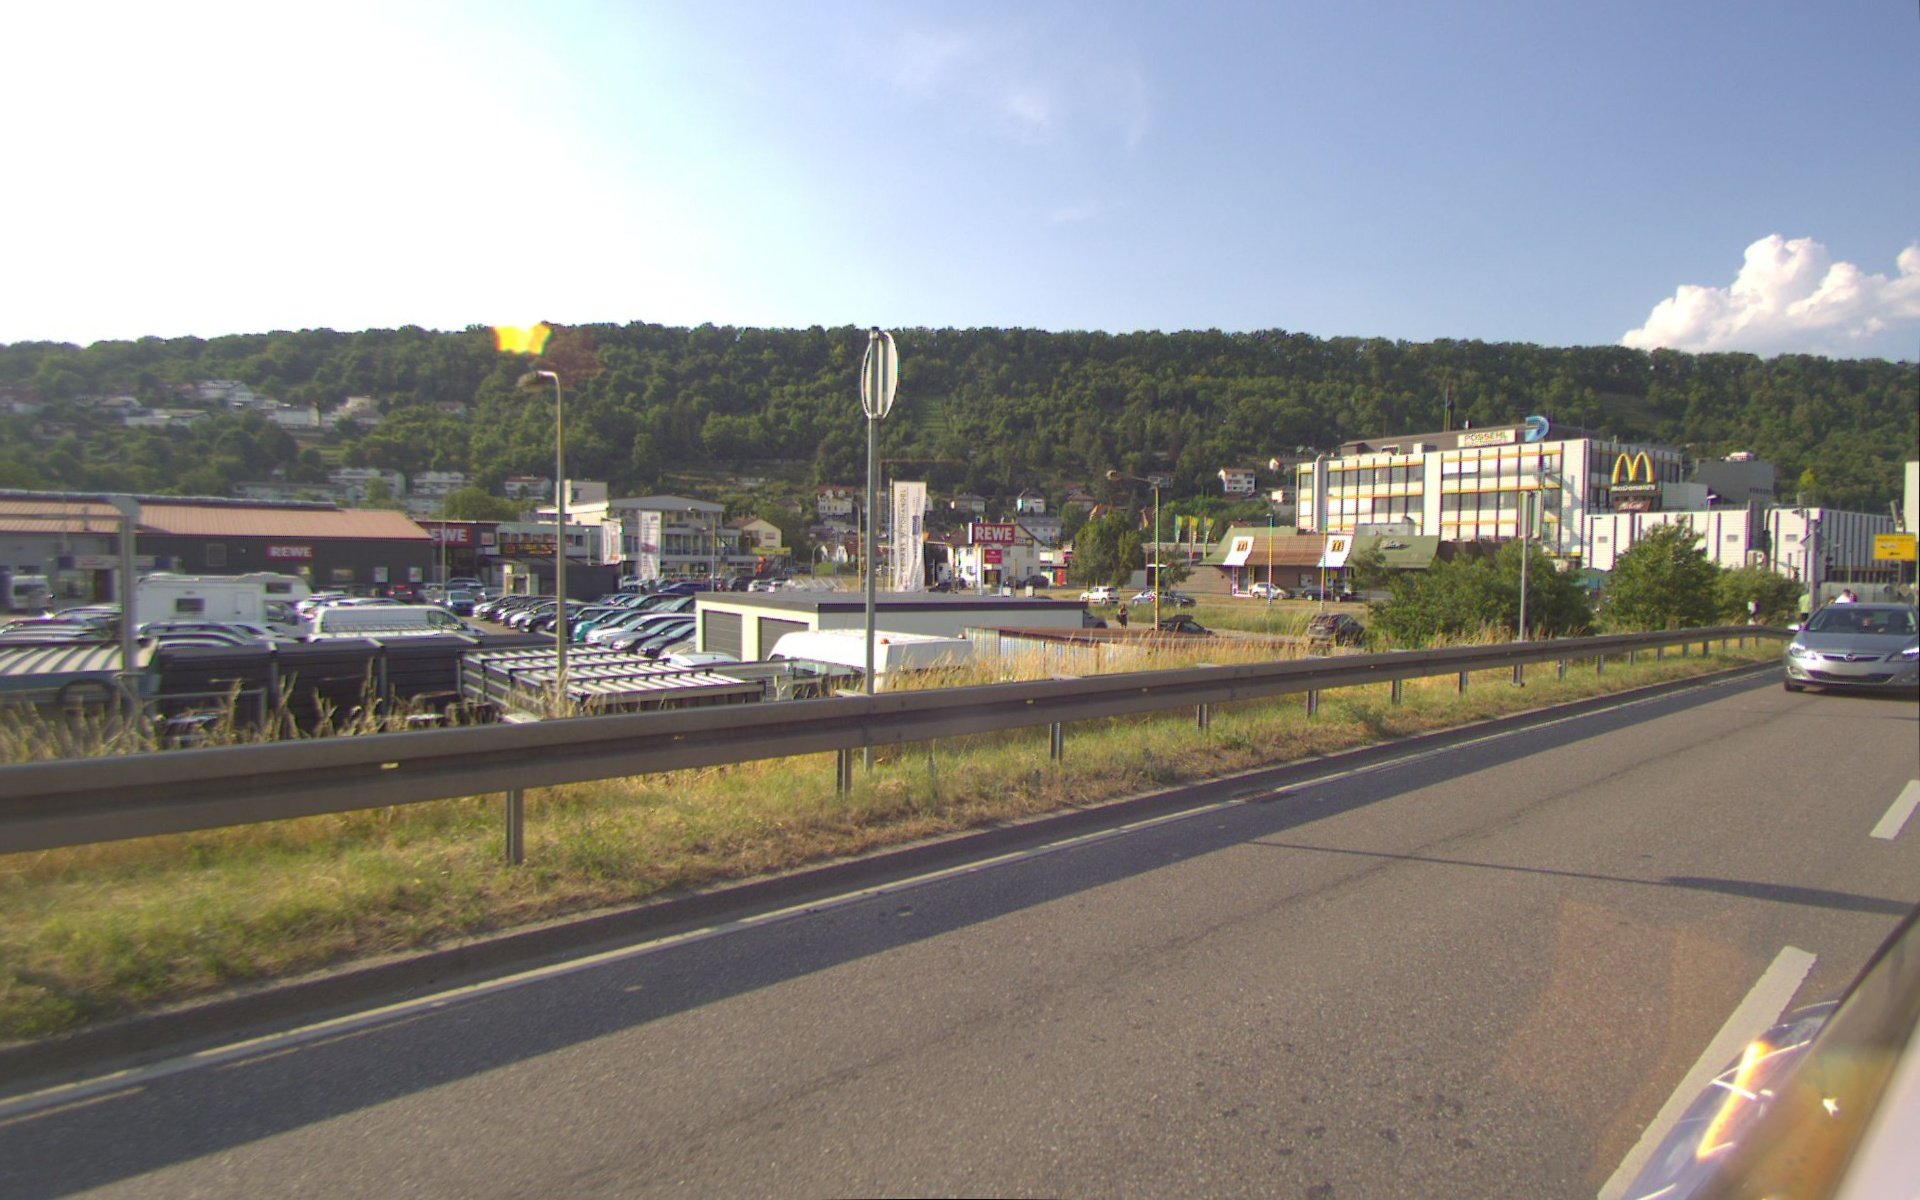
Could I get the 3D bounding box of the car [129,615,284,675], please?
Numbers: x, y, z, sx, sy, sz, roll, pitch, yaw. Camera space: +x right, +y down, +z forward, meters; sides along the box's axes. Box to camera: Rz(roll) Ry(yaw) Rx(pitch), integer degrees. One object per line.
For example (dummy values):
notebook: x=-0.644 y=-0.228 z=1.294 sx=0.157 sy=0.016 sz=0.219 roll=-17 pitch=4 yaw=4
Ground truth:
car: x=-24.356 y=1.406 z=32.828 sx=3.927 sy=1.660 sz=1.760 roll=-2 pitch=1 yaw=-38

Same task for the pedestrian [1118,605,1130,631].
pedestrian: x=9.549 y=1.032 z=59.070 sx=0.556 sy=1.477 sz=0.381 roll=-1 pitch=0 yaw=-15

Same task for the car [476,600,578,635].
car: x=-23.299 y=0.917 z=54.619 sx=4.900 sy=1.710 sz=1.765 roll=-1 pitch=1 yaw=-19

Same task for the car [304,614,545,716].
car: x=-12.382 y=1.403 z=23.577 sx=4.740 sy=1.976 sz=1.760 roll=-2 pitch=1 yaw=-38

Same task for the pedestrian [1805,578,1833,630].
pedestrian: x=30.155 y=0.116 z=35.520 sx=0.527 sy=1.770 sz=0.533 roll=-1 pitch=5 yaw=-36

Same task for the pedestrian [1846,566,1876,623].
pedestrian: x=30.540 y=-0.192 z=34.297 sx=0.847 sy=1.906 sz=0.619 roll=-1 pitch=3 yaw=-42

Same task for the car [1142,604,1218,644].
car: x=11.069 y=1.181 z=50.728 sx=1.833 sy=1.723 sz=4.064 roll=3 pitch=4 yaw=45

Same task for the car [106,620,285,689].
car: x=-21.667 y=1.478 z=28.827 sx=3.927 sy=1.660 sz=1.760 roll=-2 pitch=1 yaw=-38

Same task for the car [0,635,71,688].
car: x=-23.180 y=1.484 z=24.108 sx=2.707 sy=1.138 sz=1.279 roll=-1 pitch=1 yaw=-18

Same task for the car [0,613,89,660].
car: x=-24.664 y=0.952 z=26.347 sx=2.707 sy=1.138 sz=1.279 roll=-1 pitch=1 yaw=-18

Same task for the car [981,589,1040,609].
car: x=4.062 y=-0.099 z=81.118 sx=4.354 sy=1.544 sz=2.000 roll=-2 pitch=1 yaw=-34

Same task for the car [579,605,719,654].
car: x=-11.707 y=1.066 z=38.251 sx=4.740 sy=1.585 sz=1.760 roll=-2 pitch=1 yaw=-38

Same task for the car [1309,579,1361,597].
car: x=34.004 y=-1.121 z=91.822 sx=1.828 sy=1.475 sz=3.997 roll=-2 pitch=3 yaw=-39

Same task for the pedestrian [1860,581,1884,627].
pedestrian: x=32.946 y=0.144 z=36.556 sx=0.572 sy=1.634 sz=0.613 roll=4 pitch=3 yaw=44

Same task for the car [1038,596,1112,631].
car: x=6.410 y=0.703 z=56.195 sx=4.060 sy=1.723 sz=1.835 roll=-2 pitch=3 yaw=-42

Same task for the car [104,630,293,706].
car: x=-20.268 y=1.754 z=27.084 sx=3.927 sy=1.660 sz=1.760 roll=-2 pitch=1 yaw=-38

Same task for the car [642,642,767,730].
car: x=-5.772 y=1.837 z=22.577 sx=1.505 sy=1.591 sz=3.584 roll=-1 pitch=1 yaw=-35

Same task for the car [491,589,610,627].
car: x=-20.245 y=0.372 z=50.328 sx=5.364 sy=1.710 sz=1.765 roll=-1 pitch=1 yaw=-19

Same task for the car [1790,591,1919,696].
car: x=14.878 y=0.613 z=16.284 sx=3.816 sy=1.408 sz=1.690 roll=-2 pitch=2 yaw=-40

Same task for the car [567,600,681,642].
car: x=-14.168 y=0.849 z=42.647 sx=4.387 sy=1.585 sz=1.764 roll=-1 pitch=1 yaw=-24

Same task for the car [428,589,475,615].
car: x=-31.119 y=0.109 z=61.889 sx=1.701 sy=1.527 sz=3.993 roll=0 pitch=0 yaw=-41

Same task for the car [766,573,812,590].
car: x=-17.144 y=-1.890 z=101.356 sx=4.267 sy=1.582 sz=1.835 roll=-2 pitch=3 yaw=-42

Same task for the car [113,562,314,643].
car: x=-25.377 y=0.003 z=34.605 sx=5.369 sy=2.581 sz=1.760 roll=-2 pitch=1 yaw=-38

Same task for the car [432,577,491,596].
car: x=-45.094 y=-1.283 z=91.665 sx=4.507 sy=1.607 sz=1.835 roll=-2 pitch=3 yaw=-42

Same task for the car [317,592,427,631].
car: x=-27.081 y=0.476 z=46.764 sx=1.709 sy=1.649 sz=4.158 roll=-1 pitch=1 yaw=25

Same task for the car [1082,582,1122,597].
car: x=13.421 y=-0.999 z=95.692 sx=1.658 sy=1.438 sz=3.653 roll=-1 pitch=1 yaw=-35

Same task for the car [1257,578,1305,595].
car: x=30.449 y=-1.311 z=96.168 sx=1.828 sy=1.475 sz=3.997 roll=-2 pitch=3 yaw=-39

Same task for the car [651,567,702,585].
car: x=-26.413 y=-2.228 z=94.280 sx=4.267 sy=1.582 sz=1.835 roll=-2 pitch=3 yaw=-42

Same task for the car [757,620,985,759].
car: x=-1.572 y=1.328 z=16.624 sx=1.802 sy=1.838 sz=3.996 roll=-1 pitch=1 yaw=-39

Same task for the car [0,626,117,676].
car: x=-25.826 y=1.431 z=28.565 sx=2.810 sy=1.243 sz=1.363 roll=-1 pitch=1 yaw=-18

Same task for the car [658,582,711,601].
car: x=-24.851 y=-0.821 z=91.468 sx=4.267 sy=1.582 sz=1.835 roll=-2 pitch=3 yaw=-42

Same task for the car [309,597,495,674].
car: x=-18.389 y=1.090 z=33.502 sx=5.200 sy=2.274 sz=1.760 roll=-2 pitch=1 yaw=-38

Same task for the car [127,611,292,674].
car: x=-22.800 y=1.234 z=30.851 sx=3.927 sy=1.660 sz=1.760 roll=-2 pitch=1 yaw=-38

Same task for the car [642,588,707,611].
car: x=-19.524 y=-0.043 z=69.305 sx=3.931 sy=1.527 sz=1.728 roll=-1 pitch=0 yaw=-41

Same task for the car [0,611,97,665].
car: x=-30.765 y=1.254 z=33.124 sx=3.367 sy=1.636 sz=1.810 roll=-1 pitch=1 yaw=-17

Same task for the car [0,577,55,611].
car: x=-58.541 y=-0.386 z=62.445 sx=3.931 sy=2.039 sz=1.997 roll=-2 pitch=1 yaw=-41

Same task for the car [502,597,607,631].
car: x=-19.136 y=0.648 z=47.918 sx=4.387 sy=1.478 sz=1.764 roll=-1 pitch=1 yaw=-12

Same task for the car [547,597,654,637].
car: x=-15.886 y=0.727 z=44.846 sx=4.386 sy=1.585 sz=1.765 roll=-1 pitch=1 yaw=-19

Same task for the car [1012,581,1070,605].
car: x=6.145 y=-0.569 z=76.652 sx=4.081 sy=1.727 sz=1.999 roll=-2 pitch=1 yaw=-37

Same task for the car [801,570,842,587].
car: x=-14.529 y=-2.268 z=106.362 sx=3.932 sy=1.676 sz=1.789 roll=-2 pitch=1 yaw=-42
